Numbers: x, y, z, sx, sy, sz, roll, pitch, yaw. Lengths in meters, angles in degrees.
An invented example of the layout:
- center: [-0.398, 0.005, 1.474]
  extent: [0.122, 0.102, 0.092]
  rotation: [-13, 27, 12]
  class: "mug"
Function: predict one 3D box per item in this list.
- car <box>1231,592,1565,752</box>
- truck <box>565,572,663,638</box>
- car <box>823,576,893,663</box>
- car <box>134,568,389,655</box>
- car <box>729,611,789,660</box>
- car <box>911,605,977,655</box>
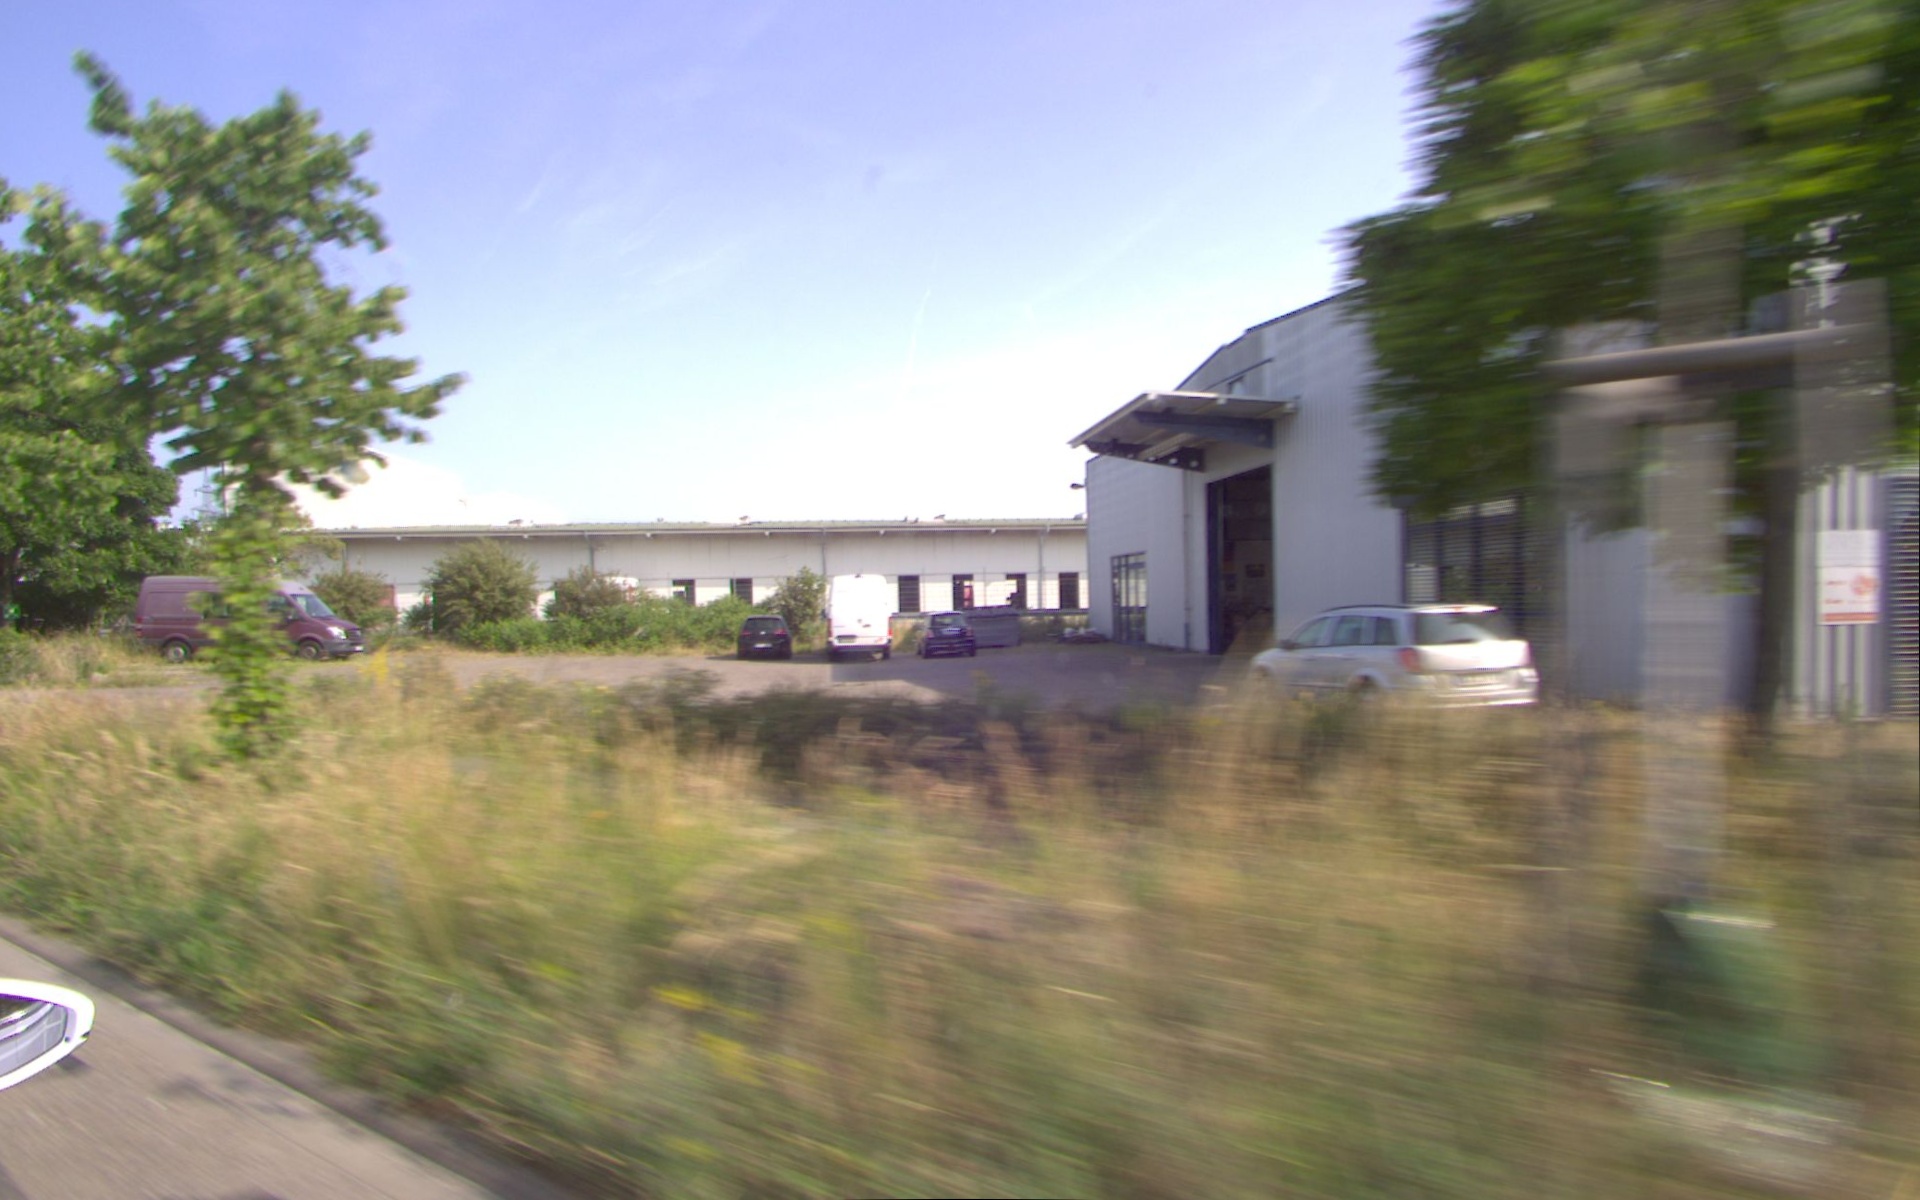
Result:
- center: [5.318, 0.755, 12.906]
  extent: [1.726, 1.583, 4.355]
  rotation: [-4, 1, -11]
  class: "car"
- center: [-16.563, 0.319, 48.619]
  extent: [2.737, 2.877, 8.759]
  rotation: [-1, -1, -8]
  class: "truck"
- center: [-3.458, 0.632, 32.915]
  extent: [1.969, 2.558, 6.558]
  rotation: [-1, -1, -8]
  class: "car"
- center: [-21.502, 0.426, 31.148]
  extent: [5.933, 2.557, 2.575]
  rotation: [0, -2, -8]
  class: "car"
- center: [-6.623, 1.130, 33.289]
  extent: [1.726, 1.491, 3.728]
  rotation: [0, 0, -8]
  class: "car"
- center: [-0.557, 0.985, 31.974]
  extent: [1.671, 1.490, 3.441]
  rotation: [0, -2, -8]
  class: "car"
